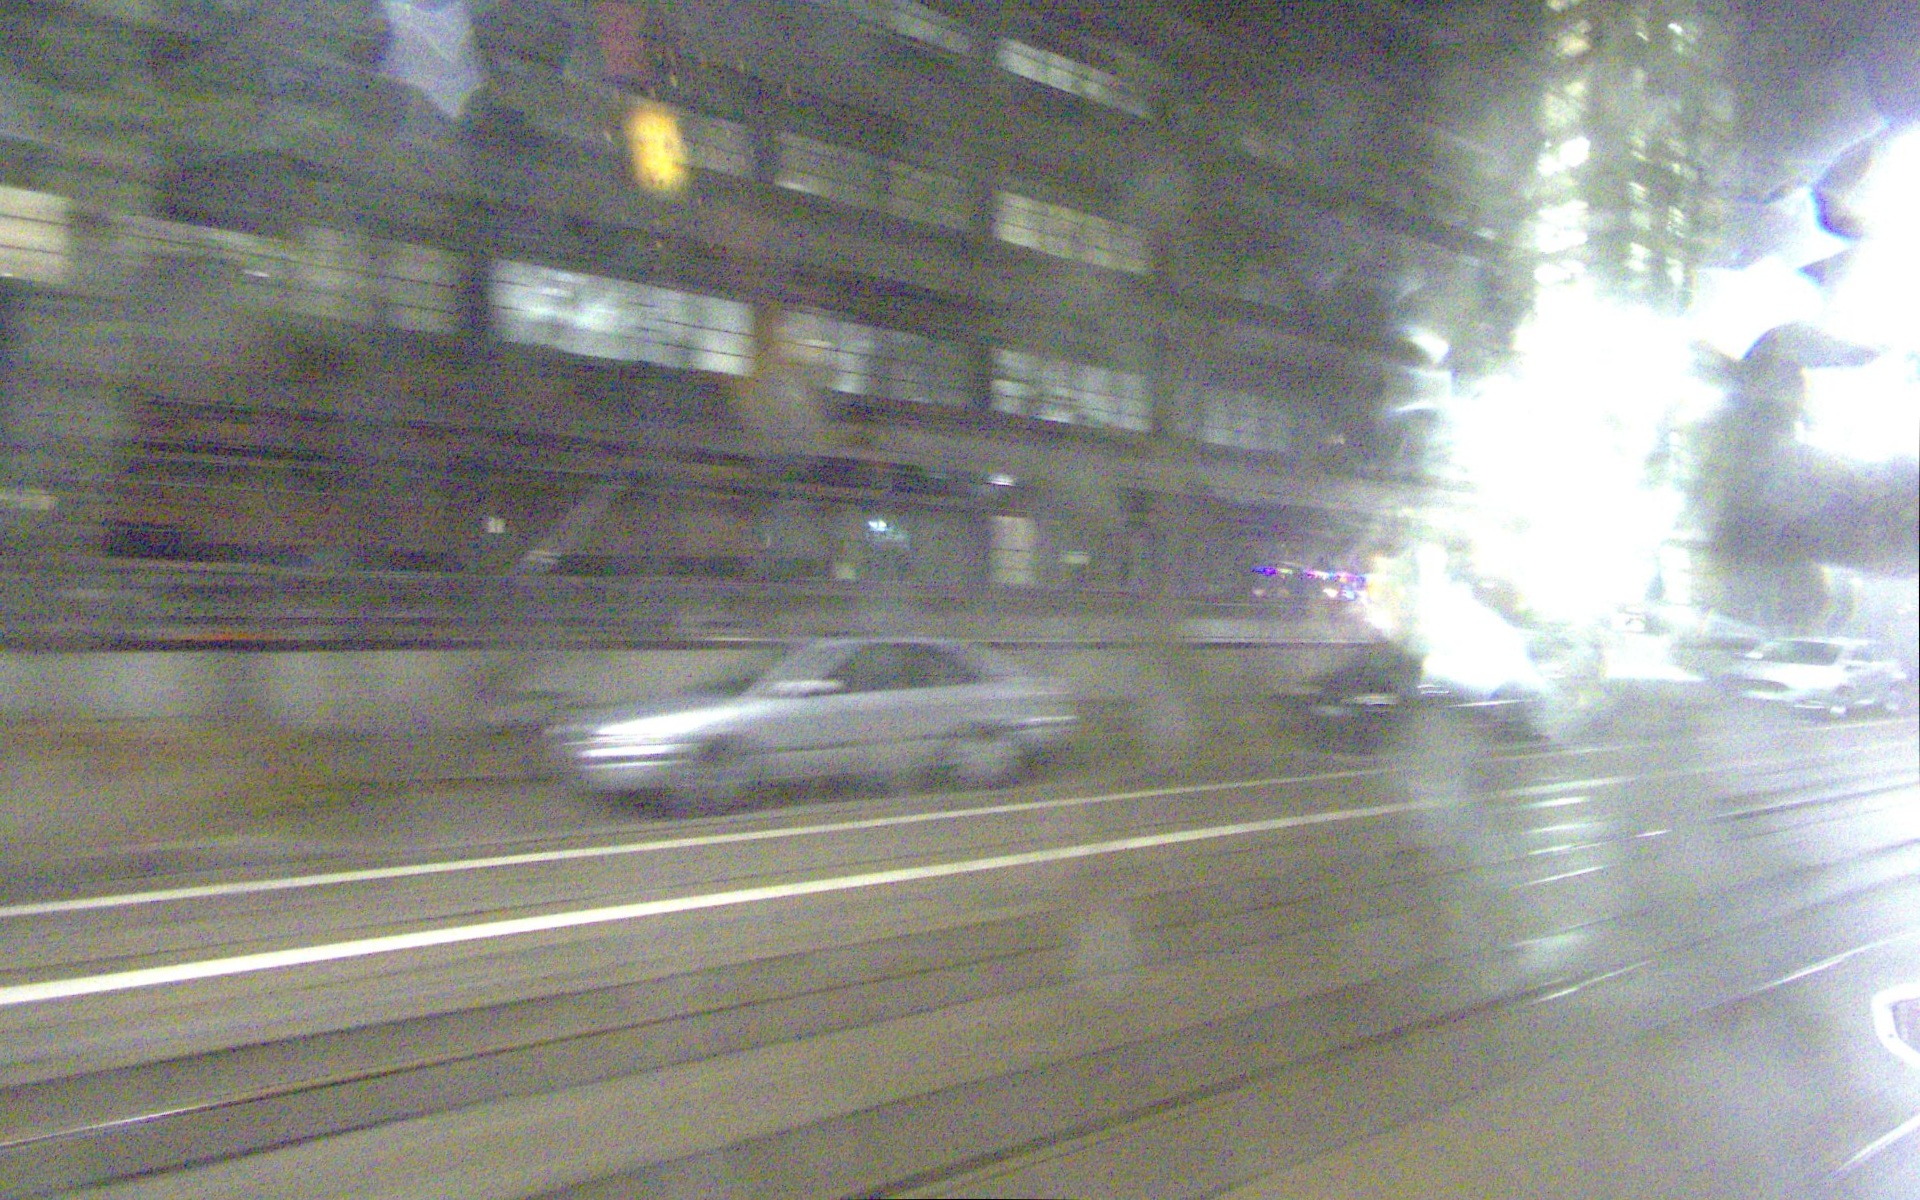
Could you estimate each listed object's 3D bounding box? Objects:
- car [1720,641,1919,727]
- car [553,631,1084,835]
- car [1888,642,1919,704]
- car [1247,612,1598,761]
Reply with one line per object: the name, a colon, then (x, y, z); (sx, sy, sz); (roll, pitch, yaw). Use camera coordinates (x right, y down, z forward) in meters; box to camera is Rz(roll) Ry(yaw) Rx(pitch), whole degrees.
car: (16.534, 1.519, 19.259); (4.560, 1.459, 1.762); (2, -2, -34)
car: (-1.187, 1.051, 9.299); (4.573, 1.457, 1.722); (2, -1, -31)
car: (24.159, 1.732, 24.106); (4.164, 1.442, 1.829); (1, -2, -33)
car: (6.370, 1.079, 13.744); (4.536, 1.641, 2.133); (2, 1, -31)
